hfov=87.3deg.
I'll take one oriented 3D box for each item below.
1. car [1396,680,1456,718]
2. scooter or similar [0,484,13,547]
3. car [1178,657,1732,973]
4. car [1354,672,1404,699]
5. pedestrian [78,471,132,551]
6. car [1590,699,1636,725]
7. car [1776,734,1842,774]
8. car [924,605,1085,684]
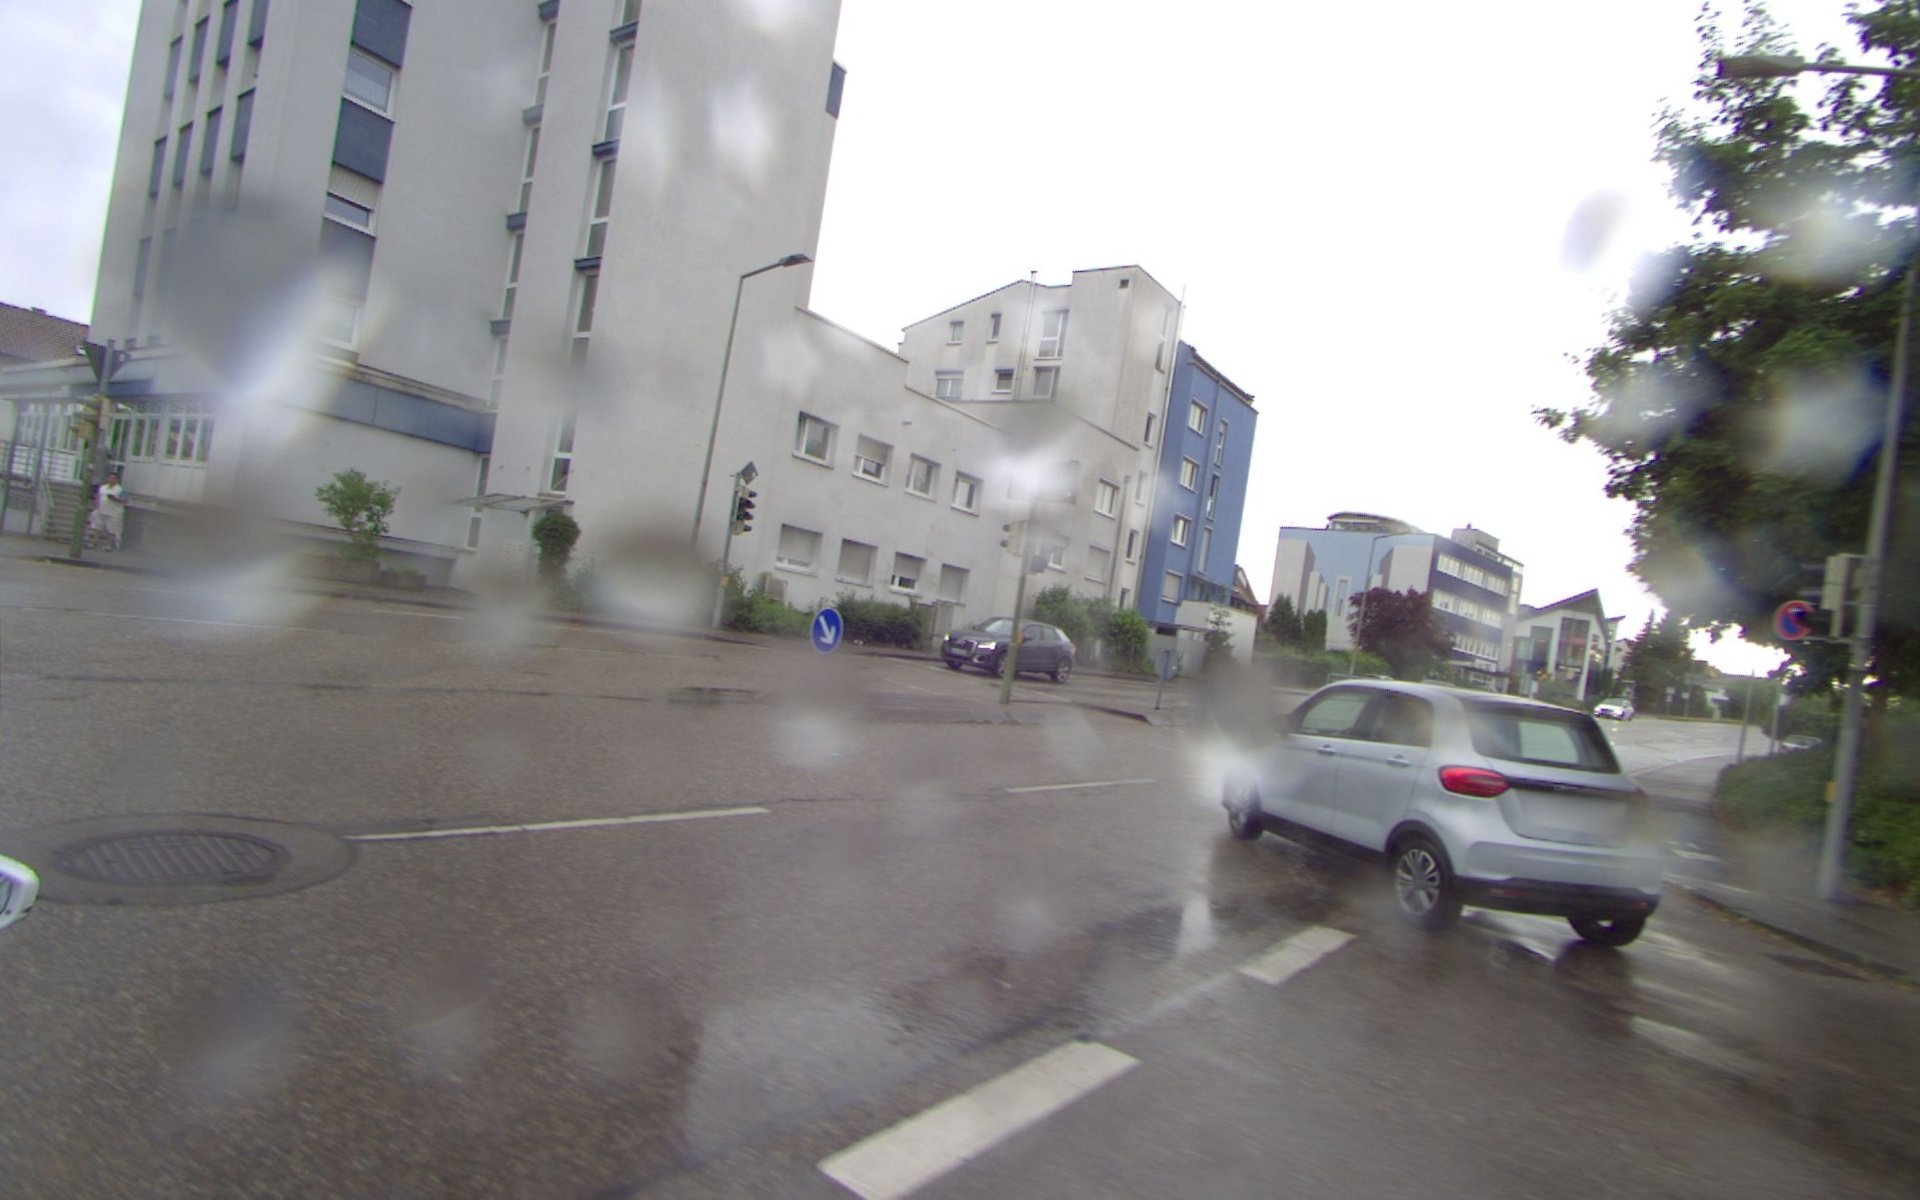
[{"bbox_3d":[23.546,5.013,50.756,1.729,1.496,3.987,7,-2,39],"label":"car"},{"bbox_3d":[-19.565,-1.744,19.785,0.787,1.241,1.062,4,-3,25],"label":"scooter or similar"},{"bbox_3d":[3.456,1.438,7.953,1.668,1.573,3.897,7,-2,-14],"label":"car"},{"bbox_3d":[27.149,5.561,65.116,1.638,1.302,3.863,6,-2,44],"label":"car"},{"bbox_3d":[-19.107,-1.970,22.487,0.636,1.670,0.655,4,-2,35],"label":"pedestrian"},{"bbox_3d":[51.130,8.763,78.733,3.994,1.562,1.879,9,-3,-41],"label":"car"},{"bbox_3d":[40.632,7.367,48.108,3.994,1.495,1.718,10,-2,-41],"label":"car"},{"bbox_3d":[1.220,1.180,25.938,1.718,1.504,4.129,9,0,43],"label":"car"}]
